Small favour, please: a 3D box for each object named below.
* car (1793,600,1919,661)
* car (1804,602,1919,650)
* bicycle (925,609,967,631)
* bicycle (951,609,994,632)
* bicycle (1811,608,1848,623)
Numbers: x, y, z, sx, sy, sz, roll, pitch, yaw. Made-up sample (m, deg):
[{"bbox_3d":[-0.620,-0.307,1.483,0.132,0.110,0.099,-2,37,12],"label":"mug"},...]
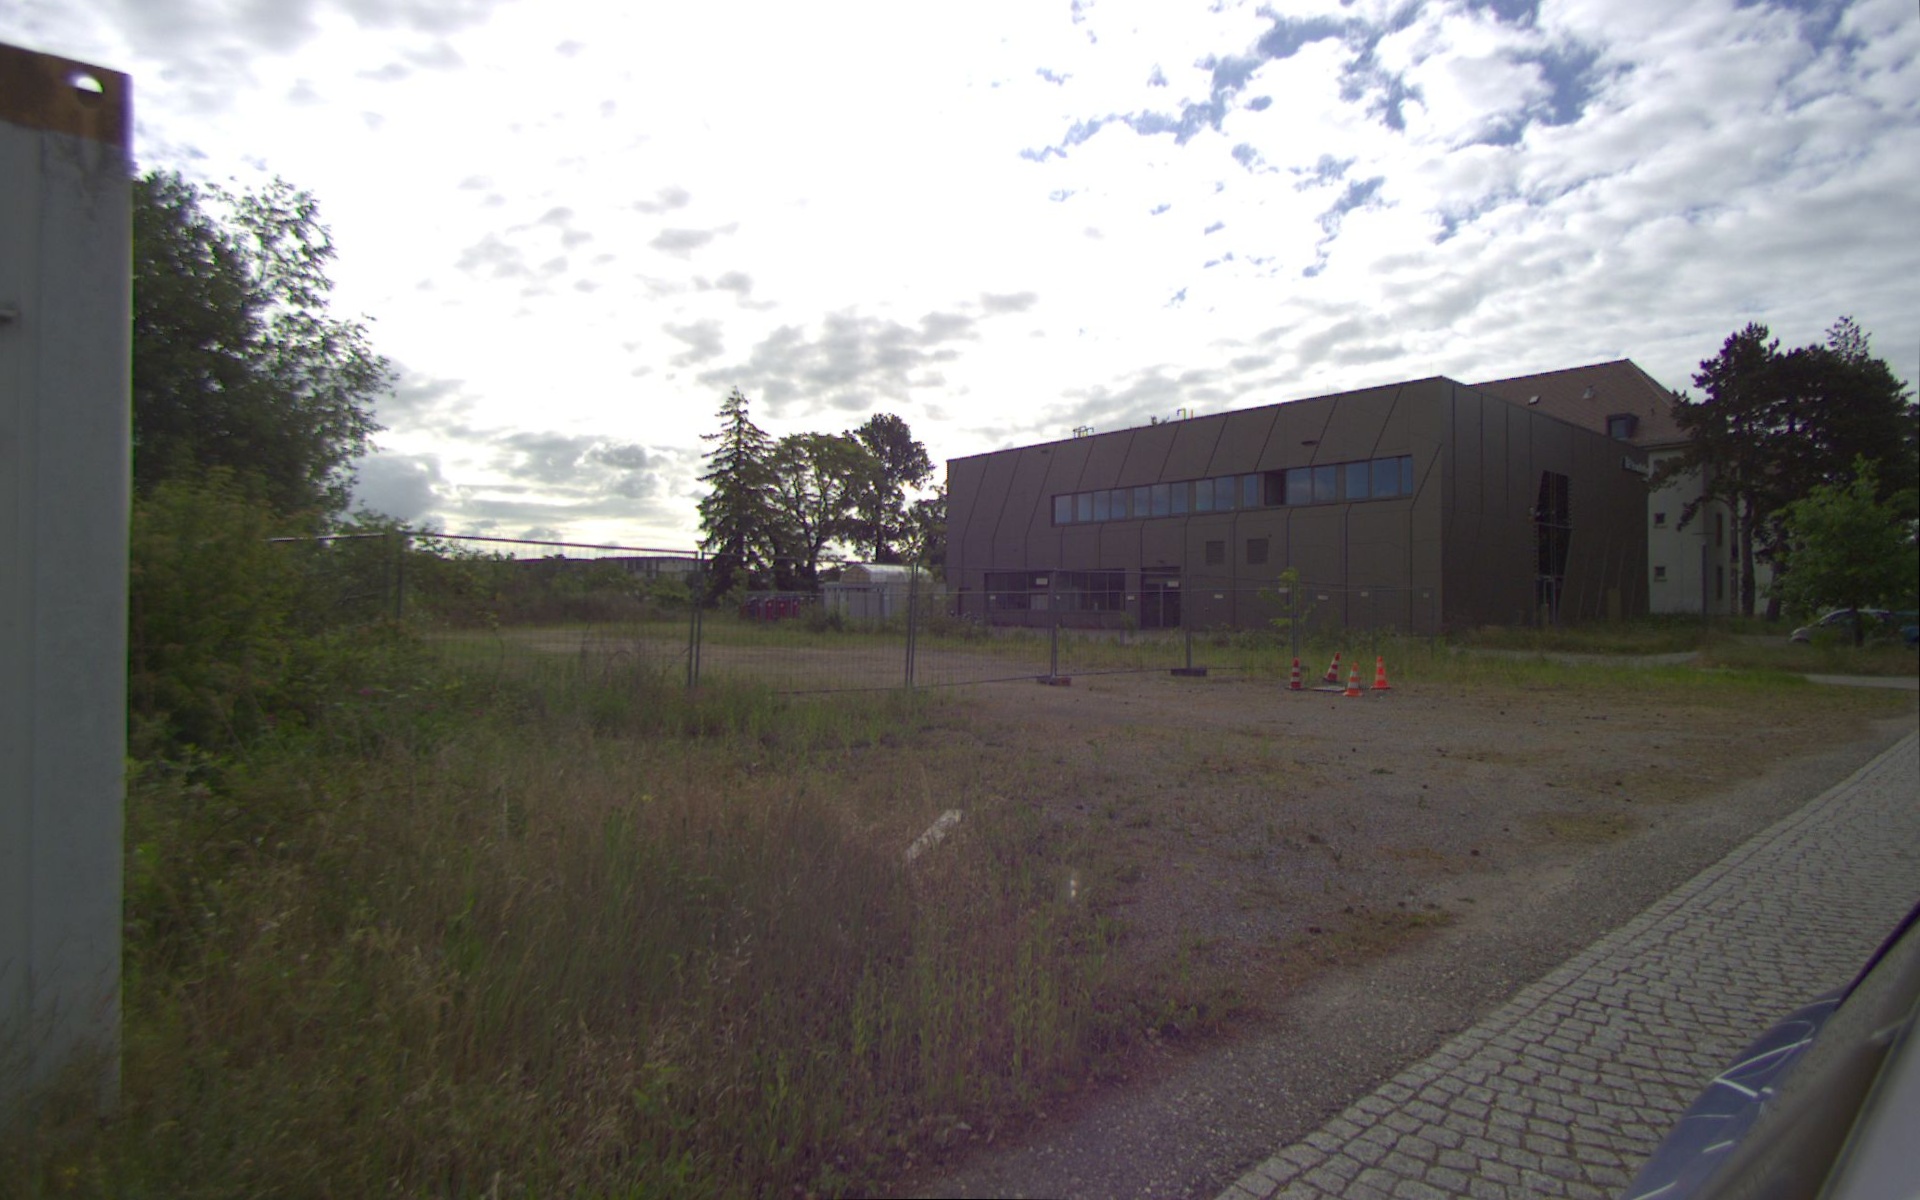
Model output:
[{"bbox_3d":[26.709,0.861,30.083,1.653,1.602,2.747,1,1,-40],"label":"car"},{"bbox_3d":[32.147,0.900,34.820,1.899,1.468,4.531,1,2,-42],"label":"car"},{"bbox_3d":[-0.662,0.951,48.895,1.953,1.038,0.835,-1,0,-39],"label":"bicycle"},{"bbox_3d":[0.593,0.930,47.184,1.953,1.038,0.835,-1,0,-39],"label":"bicycle"},{"bbox_3d":[68.769,1.213,80.061,0.705,1.109,2.160,1,-1,-44],"label":"bicycle"}]
